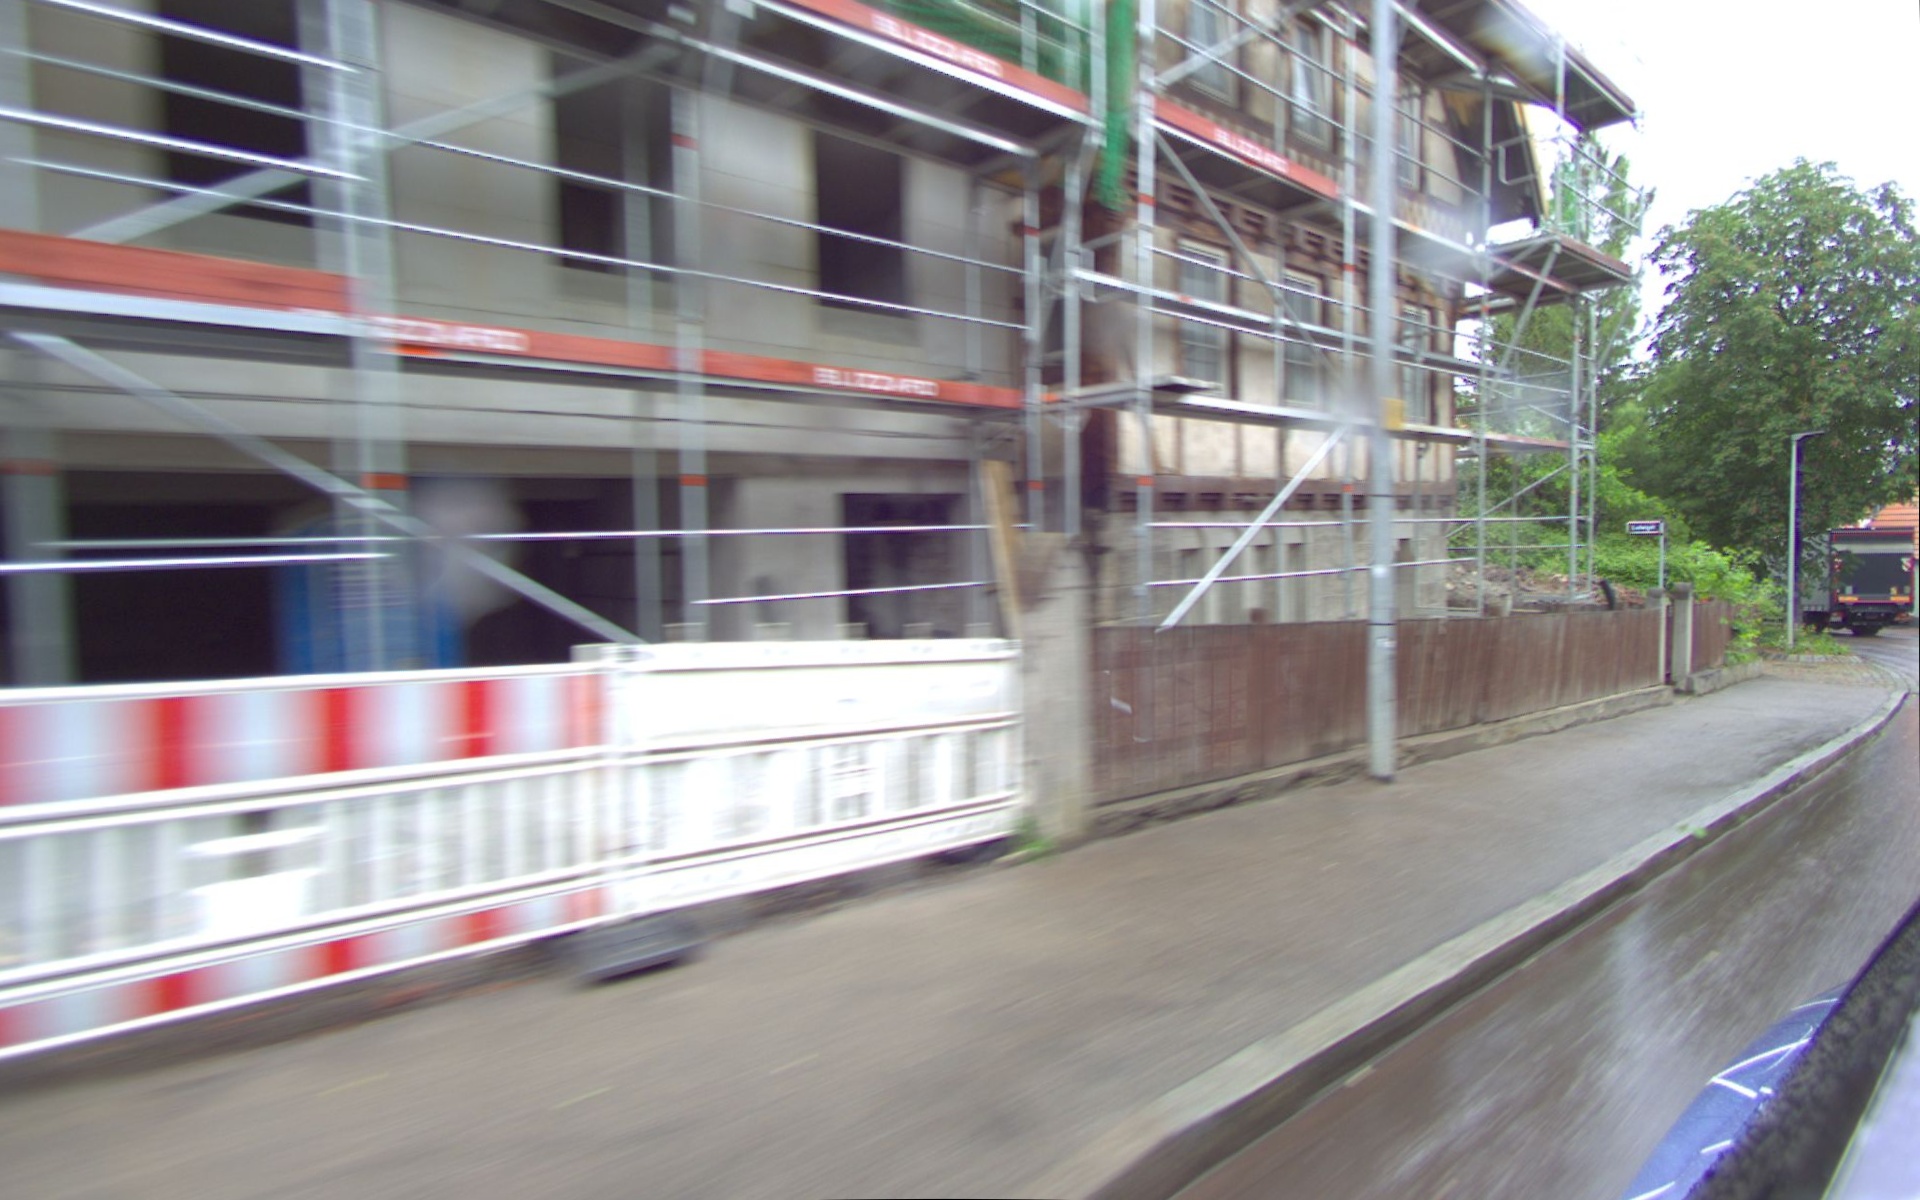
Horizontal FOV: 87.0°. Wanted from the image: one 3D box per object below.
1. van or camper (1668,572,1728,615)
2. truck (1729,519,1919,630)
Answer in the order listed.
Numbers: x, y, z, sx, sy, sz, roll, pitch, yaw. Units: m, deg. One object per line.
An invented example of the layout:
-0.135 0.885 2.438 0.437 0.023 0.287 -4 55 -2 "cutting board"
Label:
46.831 -0.453 64.293 1.977 2.565 4.709 1 1 23 "van or camper"
35.560 -0.971 41.849 2.820 4.017 10.367 0 1 19 "truck"
